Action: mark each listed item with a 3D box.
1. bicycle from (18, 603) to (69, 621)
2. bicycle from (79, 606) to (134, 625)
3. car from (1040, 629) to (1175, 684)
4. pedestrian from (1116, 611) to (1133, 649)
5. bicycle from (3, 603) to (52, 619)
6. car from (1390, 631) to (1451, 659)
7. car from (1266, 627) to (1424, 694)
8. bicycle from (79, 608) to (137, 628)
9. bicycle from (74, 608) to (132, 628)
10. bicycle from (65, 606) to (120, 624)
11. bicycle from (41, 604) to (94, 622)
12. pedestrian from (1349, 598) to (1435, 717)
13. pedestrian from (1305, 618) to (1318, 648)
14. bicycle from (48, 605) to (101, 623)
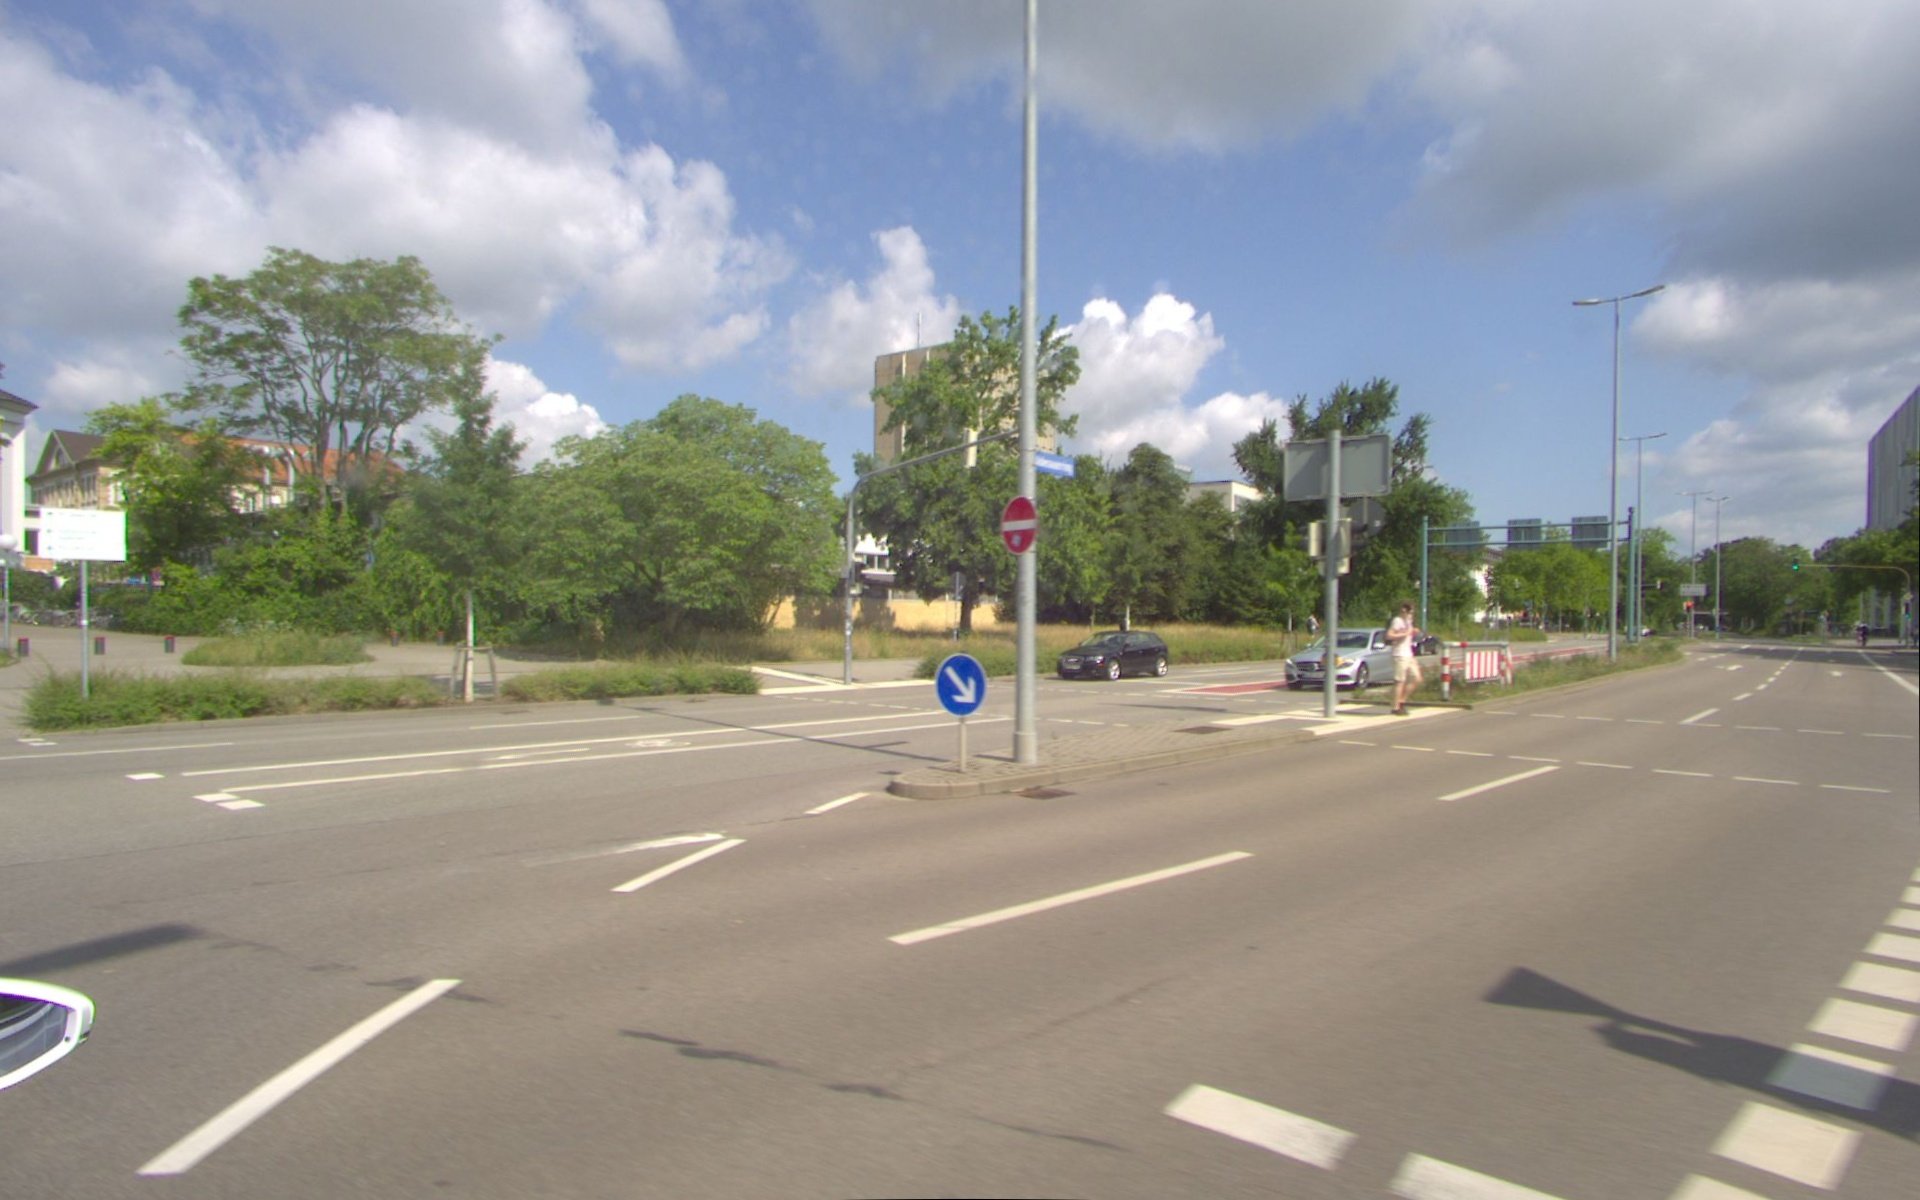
[{"bbox_3d":[-51.951,0.684,56.764,0.794,0.948,2.048,0,0,37],"label":"bicycle"},{"bbox_3d":[-43.992,0.808,51.647,0.794,0.948,2.048,0,0,37],"label":"bicycle"},{"bbox_3d":[4.425,1.614,29.599,1.978,1.395,4.125,2,0,42],"label":"car"},{"bbox_3d":[7.252,1.318,44.175,0.534,1.628,0.521,1,-2,35],"label":"pedestrian"},{"bbox_3d":[-55.660,0.650,59.812,0.794,0.948,2.048,0,0,37],"label":"bicycle"},{"bbox_3d":[23.562,2.260,51.189,1.777,1.289,3.967,1,0,42],"label":"car"},{"bbox_3d":[9.588,1.431,24.735,2.040,1.460,4.739,-2,-2,42],"label":"car"},{"bbox_3d":[-41.206,0.861,48.441,0.794,0.948,2.048,0,0,37],"label":"bicycle"},{"bbox_3d":[-42.346,0.889,49.511,0.794,0.948,2.048,0,0,37],"label":"bicycle"},{"bbox_3d":[-45.231,0.779,52.204,0.794,0.948,2.048,0,0,37],"label":"bicycle"},{"bbox_3d":[-48.812,0.734,54.792,0.794,0.948,2.048,0,0,37],"label":"bicycle"},{"bbox_3d":[7.091,0.925,16.437,1.165,1.880,0.695,0,-2,36],"label":"pedestrian"},{"bbox_3d":[21.236,2.000,60.482,0.534,1.790,0.521,1,-2,35],"label":"pedestrian"},{"bbox_3d":[-47.962,0.748,54.246,0.794,0.948,2.048,0,0,37],"label":"bicycle"}]
